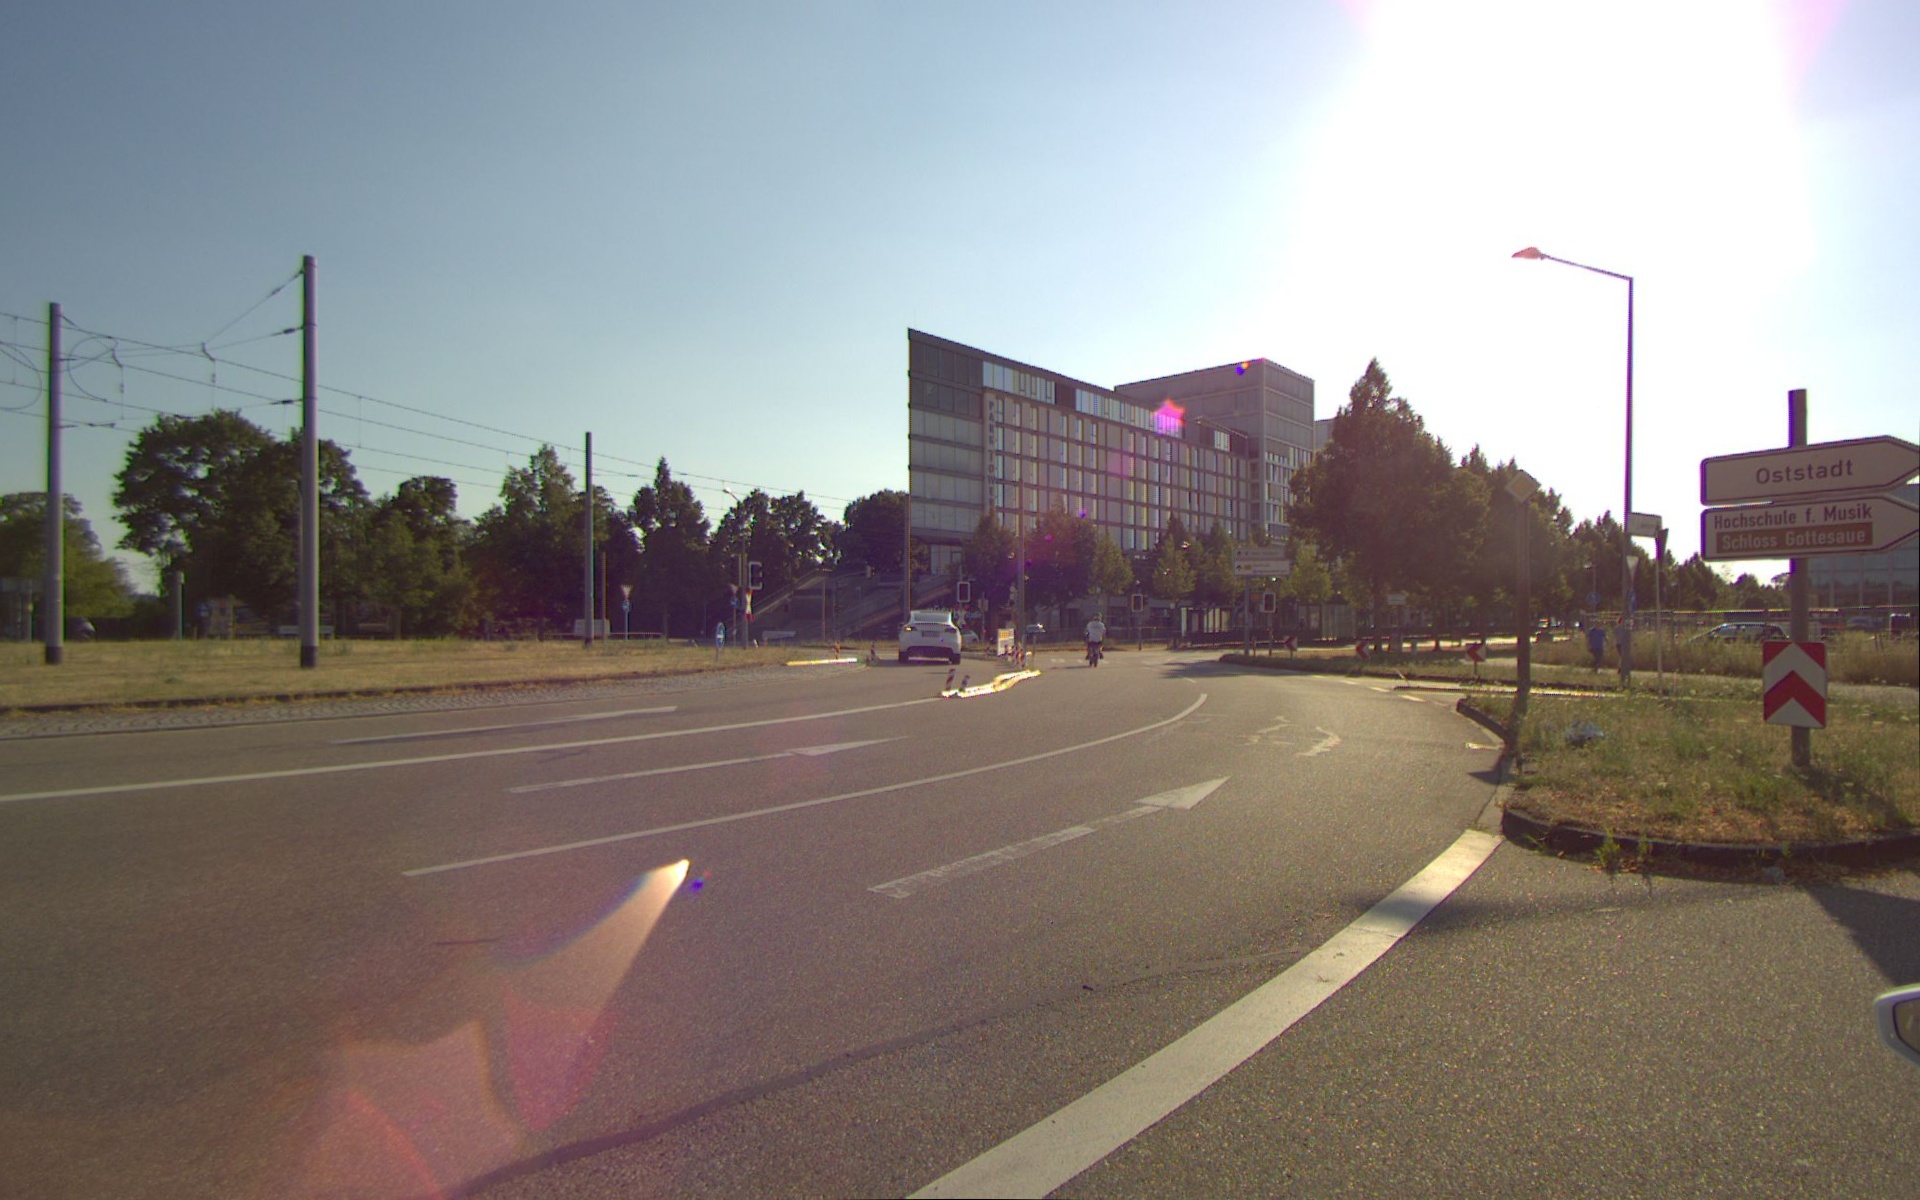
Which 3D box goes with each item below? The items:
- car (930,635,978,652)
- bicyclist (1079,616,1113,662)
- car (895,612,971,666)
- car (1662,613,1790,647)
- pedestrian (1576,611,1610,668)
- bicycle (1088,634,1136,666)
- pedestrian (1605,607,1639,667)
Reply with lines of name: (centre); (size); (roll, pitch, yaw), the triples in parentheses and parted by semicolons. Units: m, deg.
car: (-0.410, 3.255, 75.500); (3.480, 1.256, 1.637); (1, -2, -44)
bicyclist: (4.269, 1.204, 31.450); (0.857, 1.428, 0.626); (0, -1, 38)
car: (-0.777, 1.181, 31.448); (1.960, 1.595, 4.002); (0, -1, 5)
car: (32.185, 1.265, 42.386); (4.174, 1.381, 1.994); (-1, -2, 35)
pedestrian: (19.327, 1.204, 30.676); (0.771, 1.731, 0.812); (-1, -1, 26)
bicycle: (4.762, 1.558, 31.434); (0.837, 0.941, 1.713); (-1, -1, 35)
pedestrian: (20.227, 1.135, 30.700); (0.746, 1.799, 0.771); (-1, -1, 26)
